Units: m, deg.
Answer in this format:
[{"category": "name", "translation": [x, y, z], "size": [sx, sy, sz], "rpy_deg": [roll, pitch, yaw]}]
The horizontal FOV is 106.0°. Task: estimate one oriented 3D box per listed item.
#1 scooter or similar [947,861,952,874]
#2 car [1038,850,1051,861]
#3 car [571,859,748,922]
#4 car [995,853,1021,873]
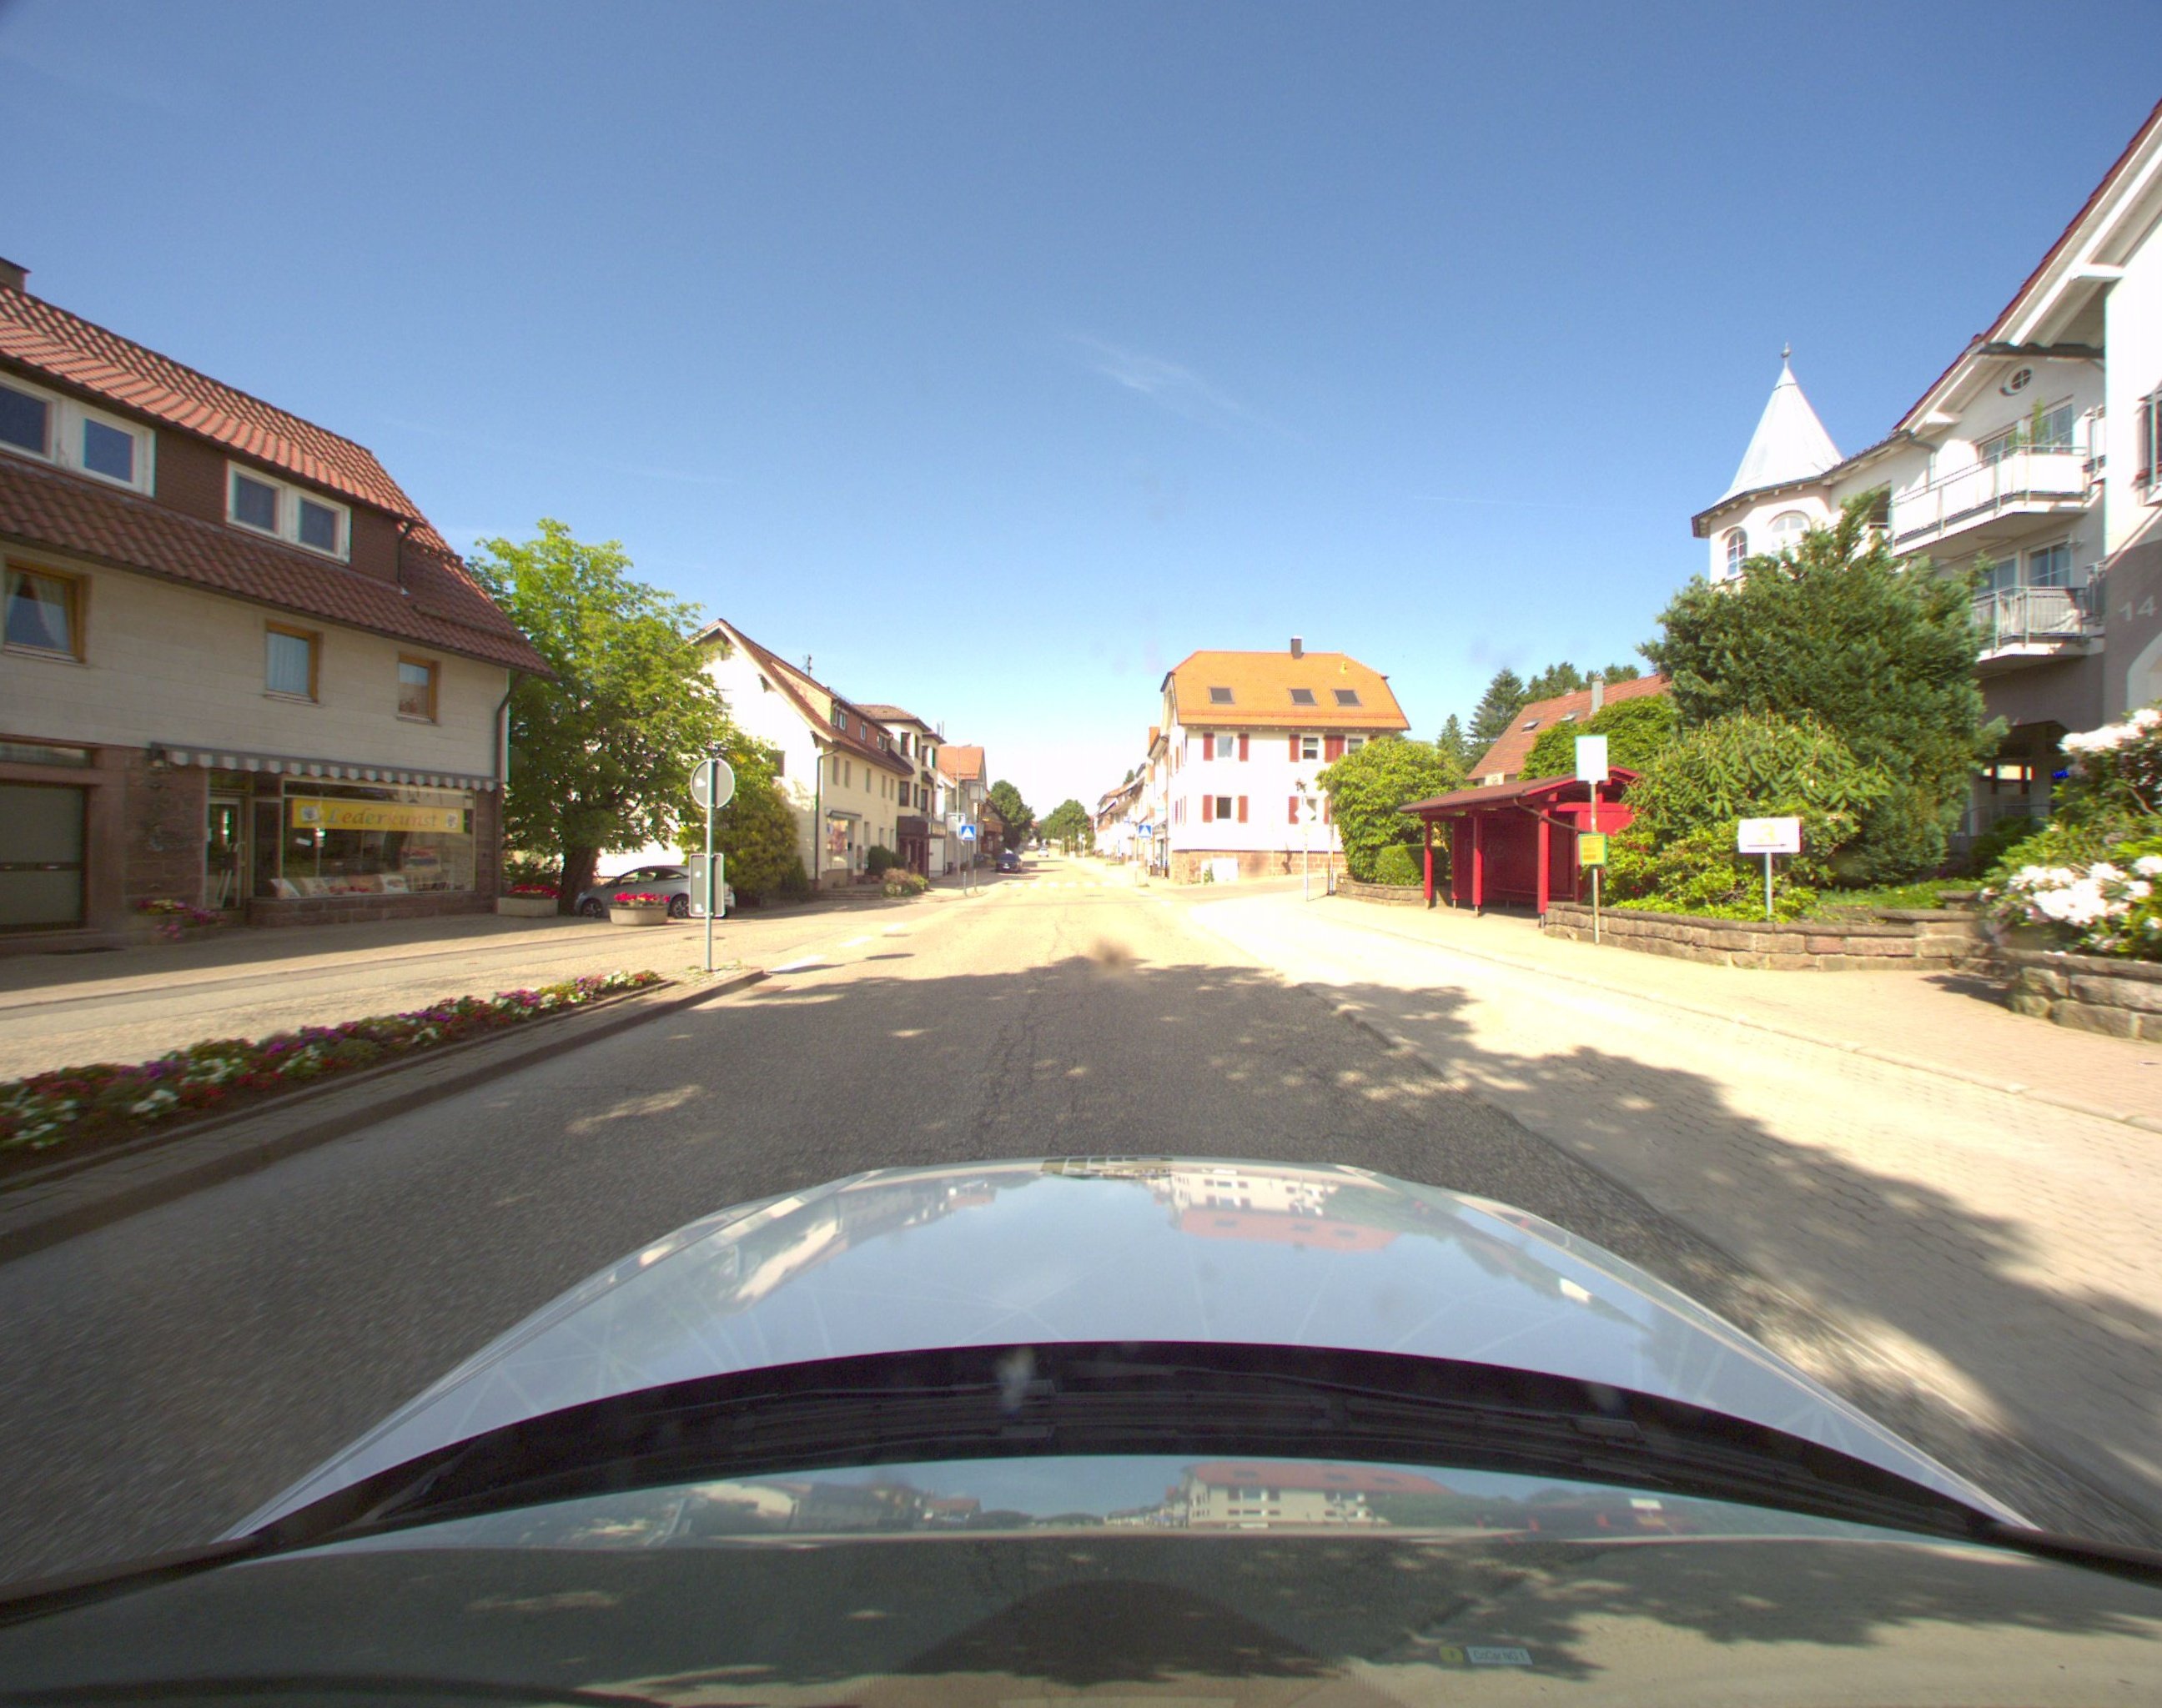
[{"category": "scooter or similar", "translation": [-9.897, 1.017, 61.435], "size": [0.351, 0.890, 0.394], "rpy_deg": [-2, 0, -7]}, {"category": "car", "translation": [-7.321, 0.250, 161.594], "size": [2.489, 2.013, 4.300], "rpy_deg": [-2, 0, -3]}, {"category": "car", "translation": [-10.970, 1.005, 21.318], "size": [3.734, 1.455, 1.823], "rpy_deg": [-2, -6, 11]}, {"category": "car", "translation": [-5.989, 0.732, 67.076], "size": [1.667, 1.533, 3.534], "rpy_deg": [4, 0, 0]}]
